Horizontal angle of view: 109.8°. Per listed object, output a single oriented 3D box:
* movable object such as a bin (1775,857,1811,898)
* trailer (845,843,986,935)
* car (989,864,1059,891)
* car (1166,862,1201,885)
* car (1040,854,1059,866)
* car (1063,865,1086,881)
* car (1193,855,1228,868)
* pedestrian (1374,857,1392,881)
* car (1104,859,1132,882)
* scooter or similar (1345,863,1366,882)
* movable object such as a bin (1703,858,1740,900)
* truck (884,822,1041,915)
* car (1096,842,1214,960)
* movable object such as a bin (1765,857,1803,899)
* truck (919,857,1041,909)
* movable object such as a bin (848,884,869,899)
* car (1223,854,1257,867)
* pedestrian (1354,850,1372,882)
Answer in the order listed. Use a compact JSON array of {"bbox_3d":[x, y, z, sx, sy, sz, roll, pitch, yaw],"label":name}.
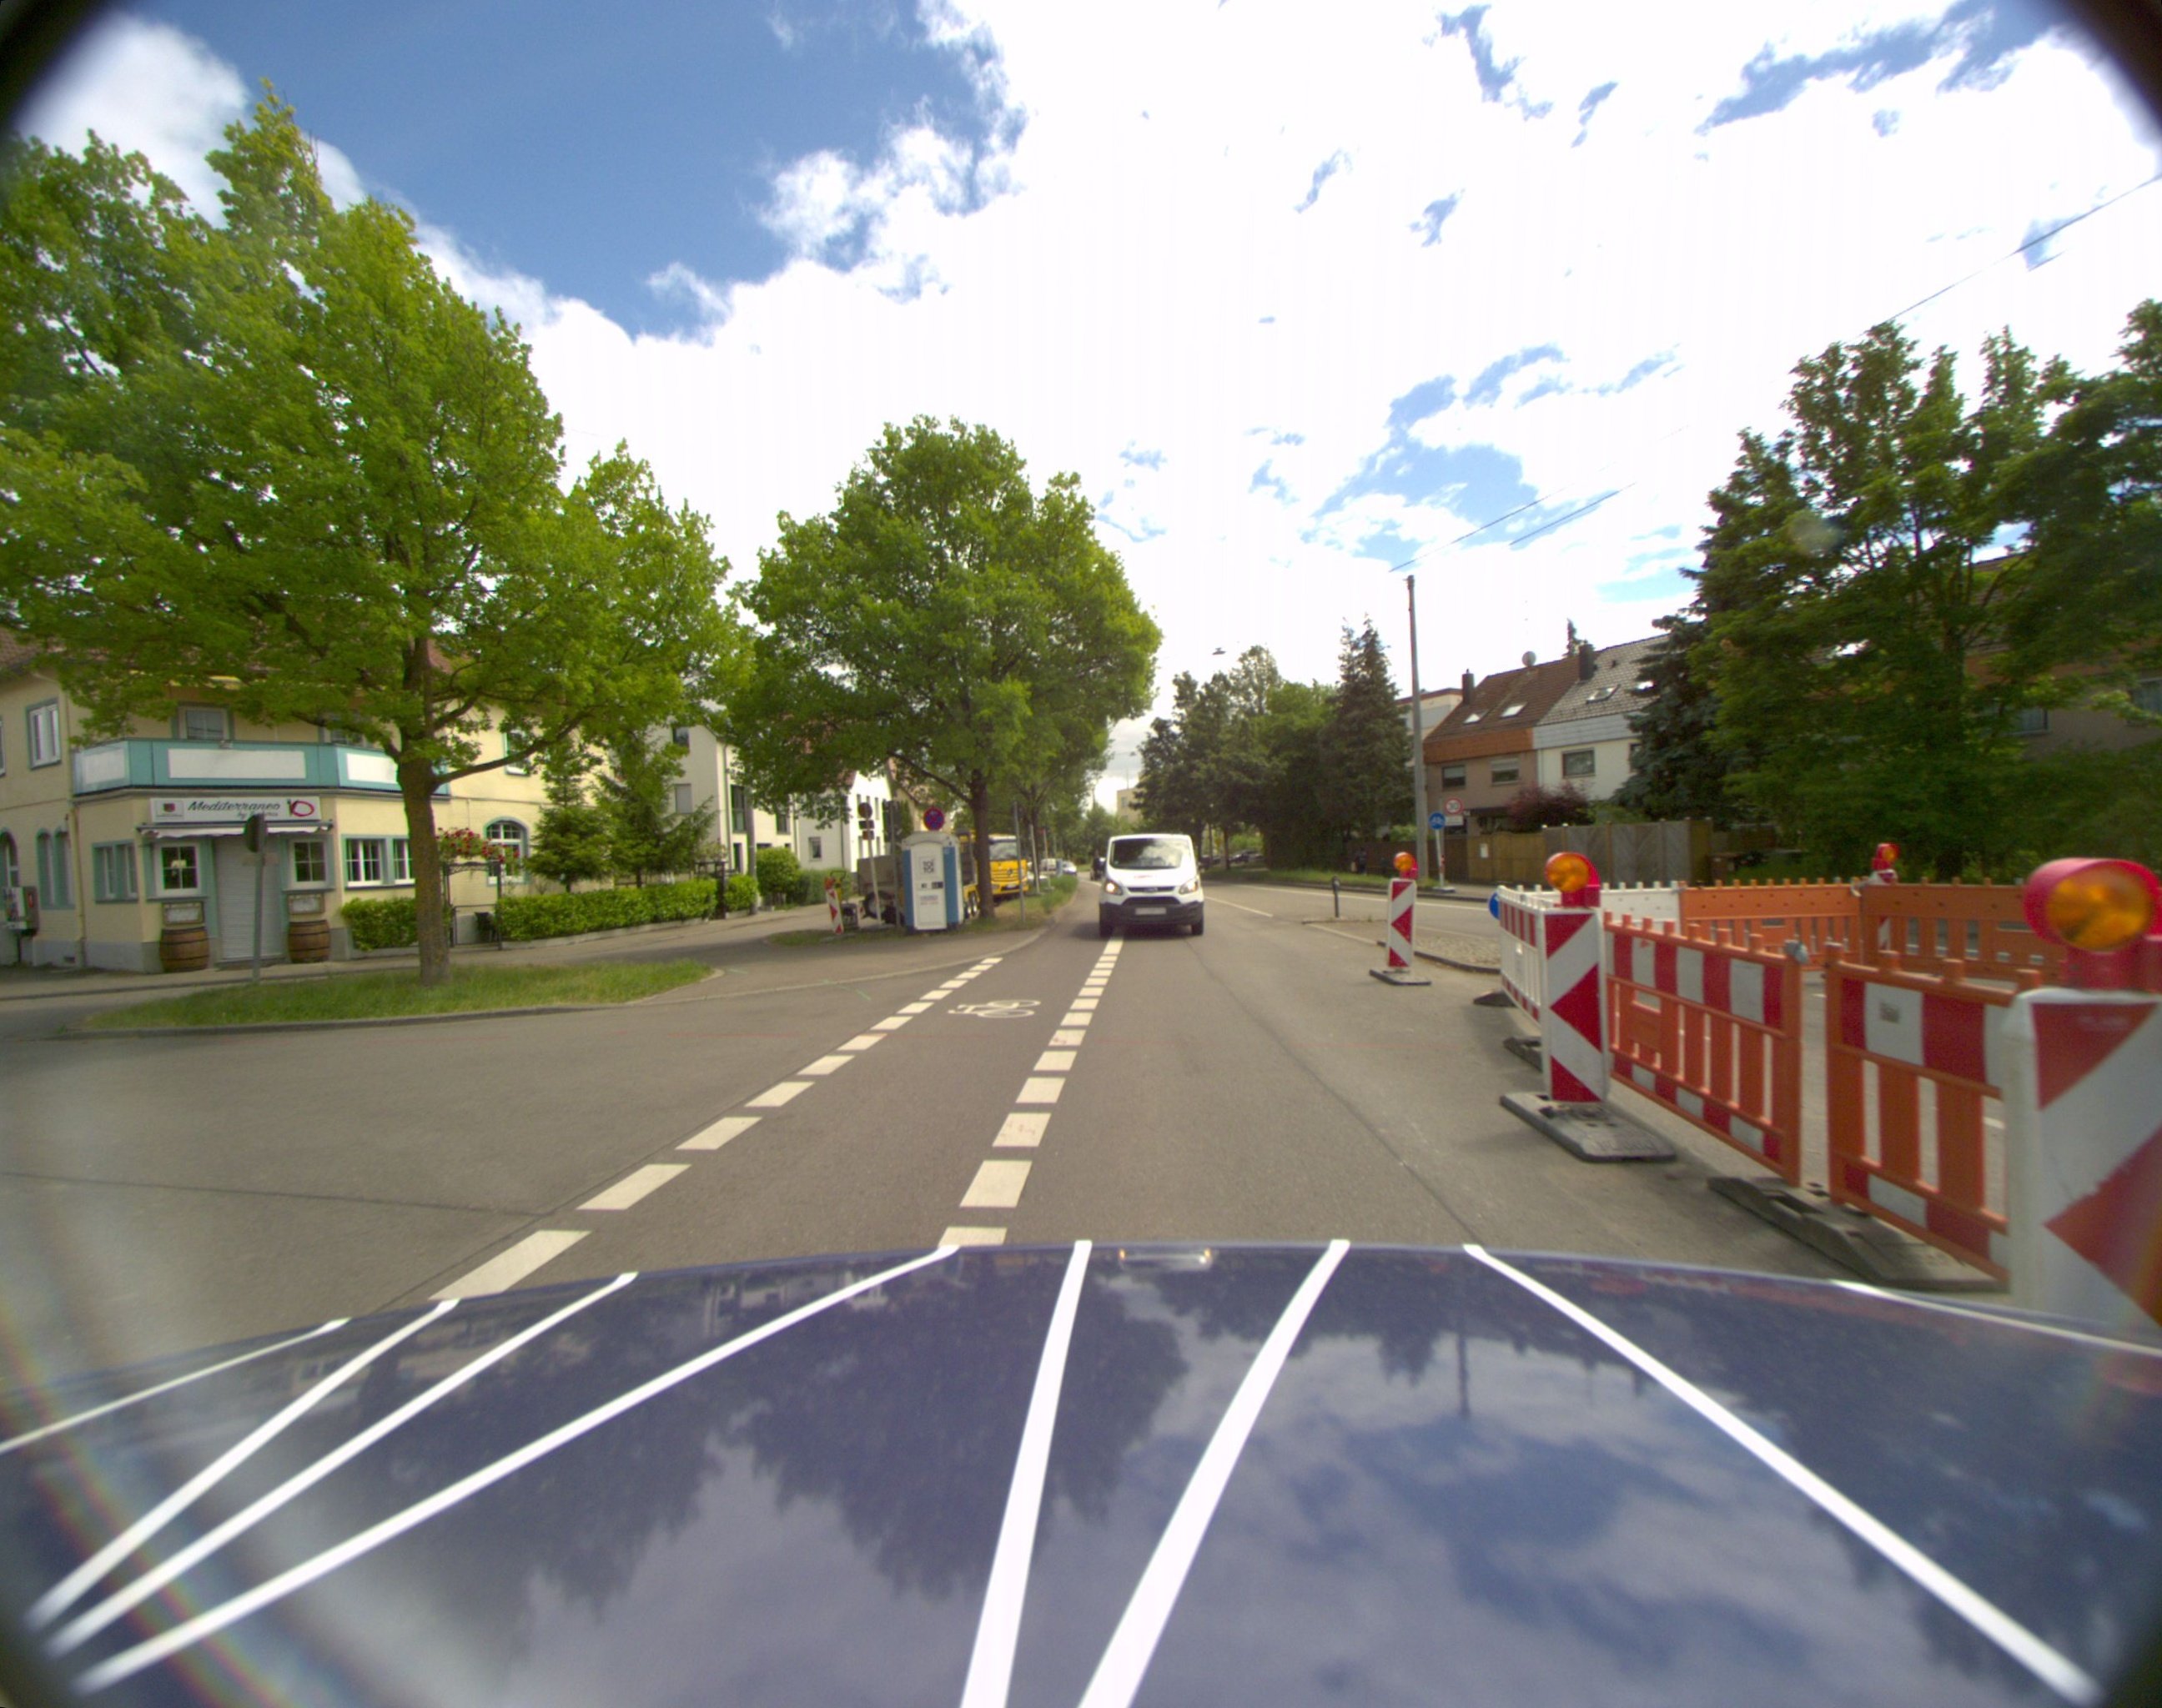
[{"bbox_3d":[17.012,0.552,18.149,0.334,0.972,0.525,-1,0,-16],"label":"movable object such as a bin"},{"bbox_3d":[-4.688,0.930,22.738,2.598,2.232,5.675,-4,0,3],"label":"trailer"},{"bbox_3d":[-3.614,1.453,47.550,4.295,1.569,2.004,-1,0,44],"label":"car"},{"bbox_3d":[7.166,1.314,53.608,1.698,1.504,3.999,-1,0,-3],"label":"car"},{"bbox_3d":[-4.683,0.871,113.370,2.001,1.719,4.099,-2,0,-15],"label":"car"},{"bbox_3d":[-0.737,2.040,82.101,1.999,1.652,3.998,-2,0,-6],"label":"car"},{"bbox_3d":[16.755,0.913,98.471,4.005,1.499,1.996,-2,0,-28],"label":"car"},{"bbox_3d":[14.281,0.716,35.896,0.556,1.080,0.641,-2,0,0],"label":"pedestrian"},{"bbox_3d":[2.960,1.295,61.334,1.998,1.719,4.104,-2,0,1],"label":"car"},{"bbox_3d":[13.193,0.871,36.543,0.637,0.859,1.030,-2,0,0],"label":"scooter or similar"},{"bbox_3d":[15.761,0.598,18.696,0.477,1.005,0.495,-1,0,-3],"label":"movable object such as a bin"},{"bbox_3d":[-4.920,0.682,30.676,6.616,3.178,2.347,-6,-3,41],"label":"truck"},{"bbox_3d":[1.393,0.800,16.282,1.998,2.002,5.513,-3,1,2],"label":"car"},{"bbox_3d":[16.662,0.560,18.017,0.372,0.972,0.547,-1,0,-16],"label":"movable object such as a bin"},{"bbox_3d":[-4.669,1.345,34.192,5.943,2.001,2.004,-5,-2,43],"label":"truck"},{"bbox_3d":[-14.750,2.488,50.375,1.121,0.935,0.823,-2,0,1],"label":"movable object such as a bin"},{"bbox_3d":[21.152,0.826,100.921,4.005,1.499,1.996,-2,0,-26],"label":"car"},{"bbox_3d":[13.260,0.579,35.697,0.556,1.472,0.641,-2,0,0],"label":"pedestrian"}]
